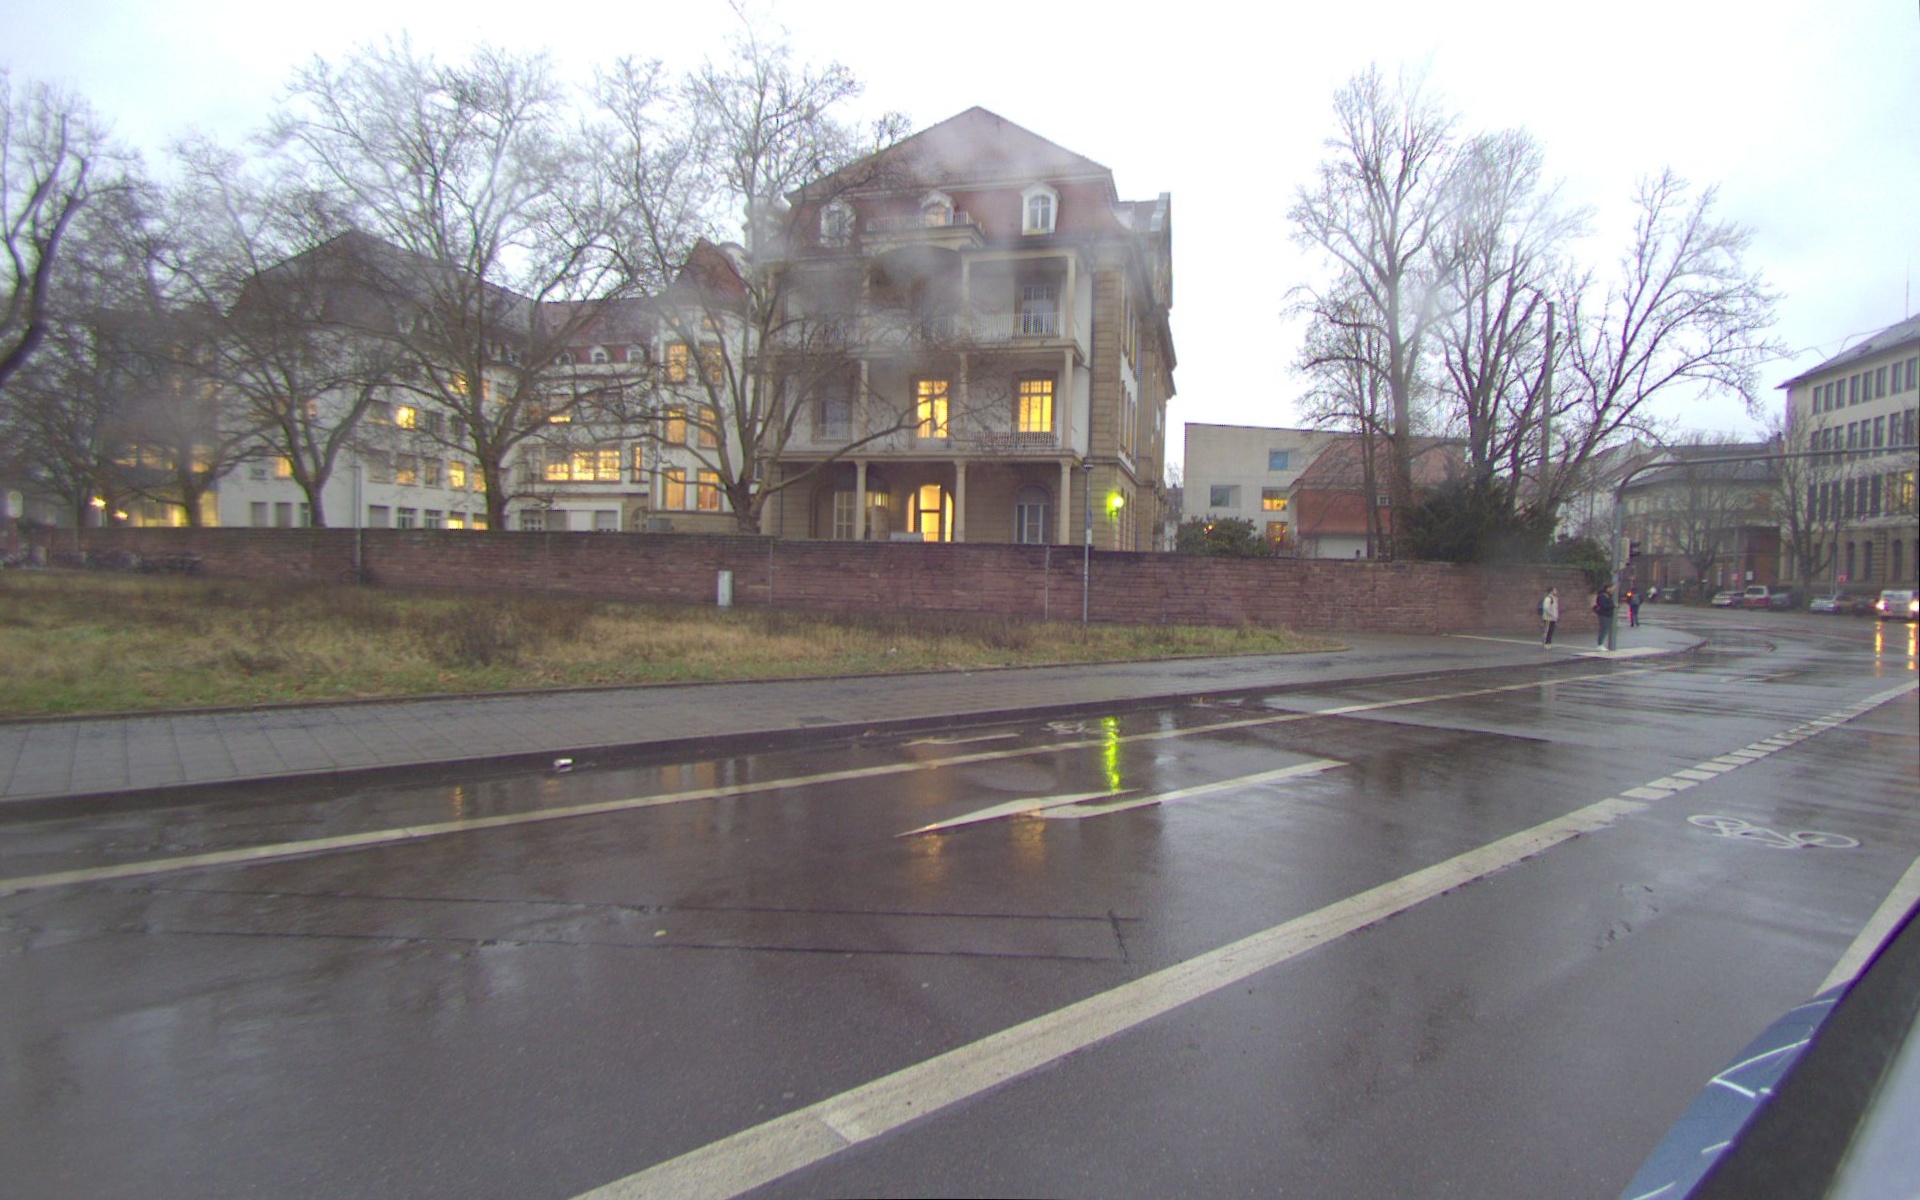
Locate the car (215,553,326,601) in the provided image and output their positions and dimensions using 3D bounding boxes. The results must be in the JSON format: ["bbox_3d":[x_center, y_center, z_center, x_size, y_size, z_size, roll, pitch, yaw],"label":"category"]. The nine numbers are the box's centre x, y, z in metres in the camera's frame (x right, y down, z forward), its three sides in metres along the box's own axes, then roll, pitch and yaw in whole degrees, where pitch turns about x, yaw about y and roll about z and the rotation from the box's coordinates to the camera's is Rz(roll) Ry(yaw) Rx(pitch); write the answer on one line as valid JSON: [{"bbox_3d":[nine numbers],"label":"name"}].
[{"bbox_3d":[-15.628,-0.537,23.049,1.275,0.989,2.688,2,2,-16],"label":"car"}]

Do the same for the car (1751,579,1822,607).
[{"bbox_3d":[65.274,-0.598,79.960,4.526,2.079,1.970,-1,2,-12],"label":"car"}]

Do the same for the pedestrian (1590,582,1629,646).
[{"bbox_3d":[18.123,0.373,28.232,0.788,1.696,0.720,4,3,37],"label":"pedestrian"}]

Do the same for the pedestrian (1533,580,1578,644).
[{"bbox_3d":[16.600,0.317,28.218,0.953,1.696,0.772,3,2,28],"label":"pedestrian"}]

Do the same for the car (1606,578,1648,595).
[{"bbox_3d":[59.728,-1.219,90.706,1.727,1.395,4.348,3,3,14],"label":"car"}]

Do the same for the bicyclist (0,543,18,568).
[{"bbox_3d":[-41.755,-1.932,44.297,0.689,1.093,0.494,-2,2,-40],"label":"bicyclist"}]

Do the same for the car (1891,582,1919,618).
[{"bbox_3d":[59.062,-0.042,61.486,4.704,2.058,1.917,-2,2,-22],"label":"car"}]

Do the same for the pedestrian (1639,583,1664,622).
[{"bbox_3d":[30.967,0.091,45.325,0.802,1.705,1.143,4,2,33],"label":"pedestrian"}]

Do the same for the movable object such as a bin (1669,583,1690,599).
[{"bbox_3d":[69.047,-0.831,97.132,0.966,1.482,1.347,-2,2,-22],"label":"movable object such as a bin"}]

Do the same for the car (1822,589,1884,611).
[{"bbox_3d":[63.748,-0.009,72.268,3.746,1.475,1.641,-2,2,-18],"label":"car"}]

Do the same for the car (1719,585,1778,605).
[{"bbox_3d":[66.928,-0.439,85.903,4.097,1.610,1.779,-1,2,-14],"label":"car"}]

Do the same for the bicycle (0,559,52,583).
[{"bbox_3d":[-41.603,-1.282,44.552,2.371,1.003,0.479,-3,2,-41],"label":"bicycle"}]

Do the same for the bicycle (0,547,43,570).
[{"bbox_3d":[-42.273,-1.843,44.843,2.371,1.003,0.537,-3,2,-41],"label":"bicycle"}]

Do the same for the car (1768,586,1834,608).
[{"bbox_3d":[64.025,-0.268,77.056,3.894,1.558,1.828,-1,2,-12],"label":"car"}]
